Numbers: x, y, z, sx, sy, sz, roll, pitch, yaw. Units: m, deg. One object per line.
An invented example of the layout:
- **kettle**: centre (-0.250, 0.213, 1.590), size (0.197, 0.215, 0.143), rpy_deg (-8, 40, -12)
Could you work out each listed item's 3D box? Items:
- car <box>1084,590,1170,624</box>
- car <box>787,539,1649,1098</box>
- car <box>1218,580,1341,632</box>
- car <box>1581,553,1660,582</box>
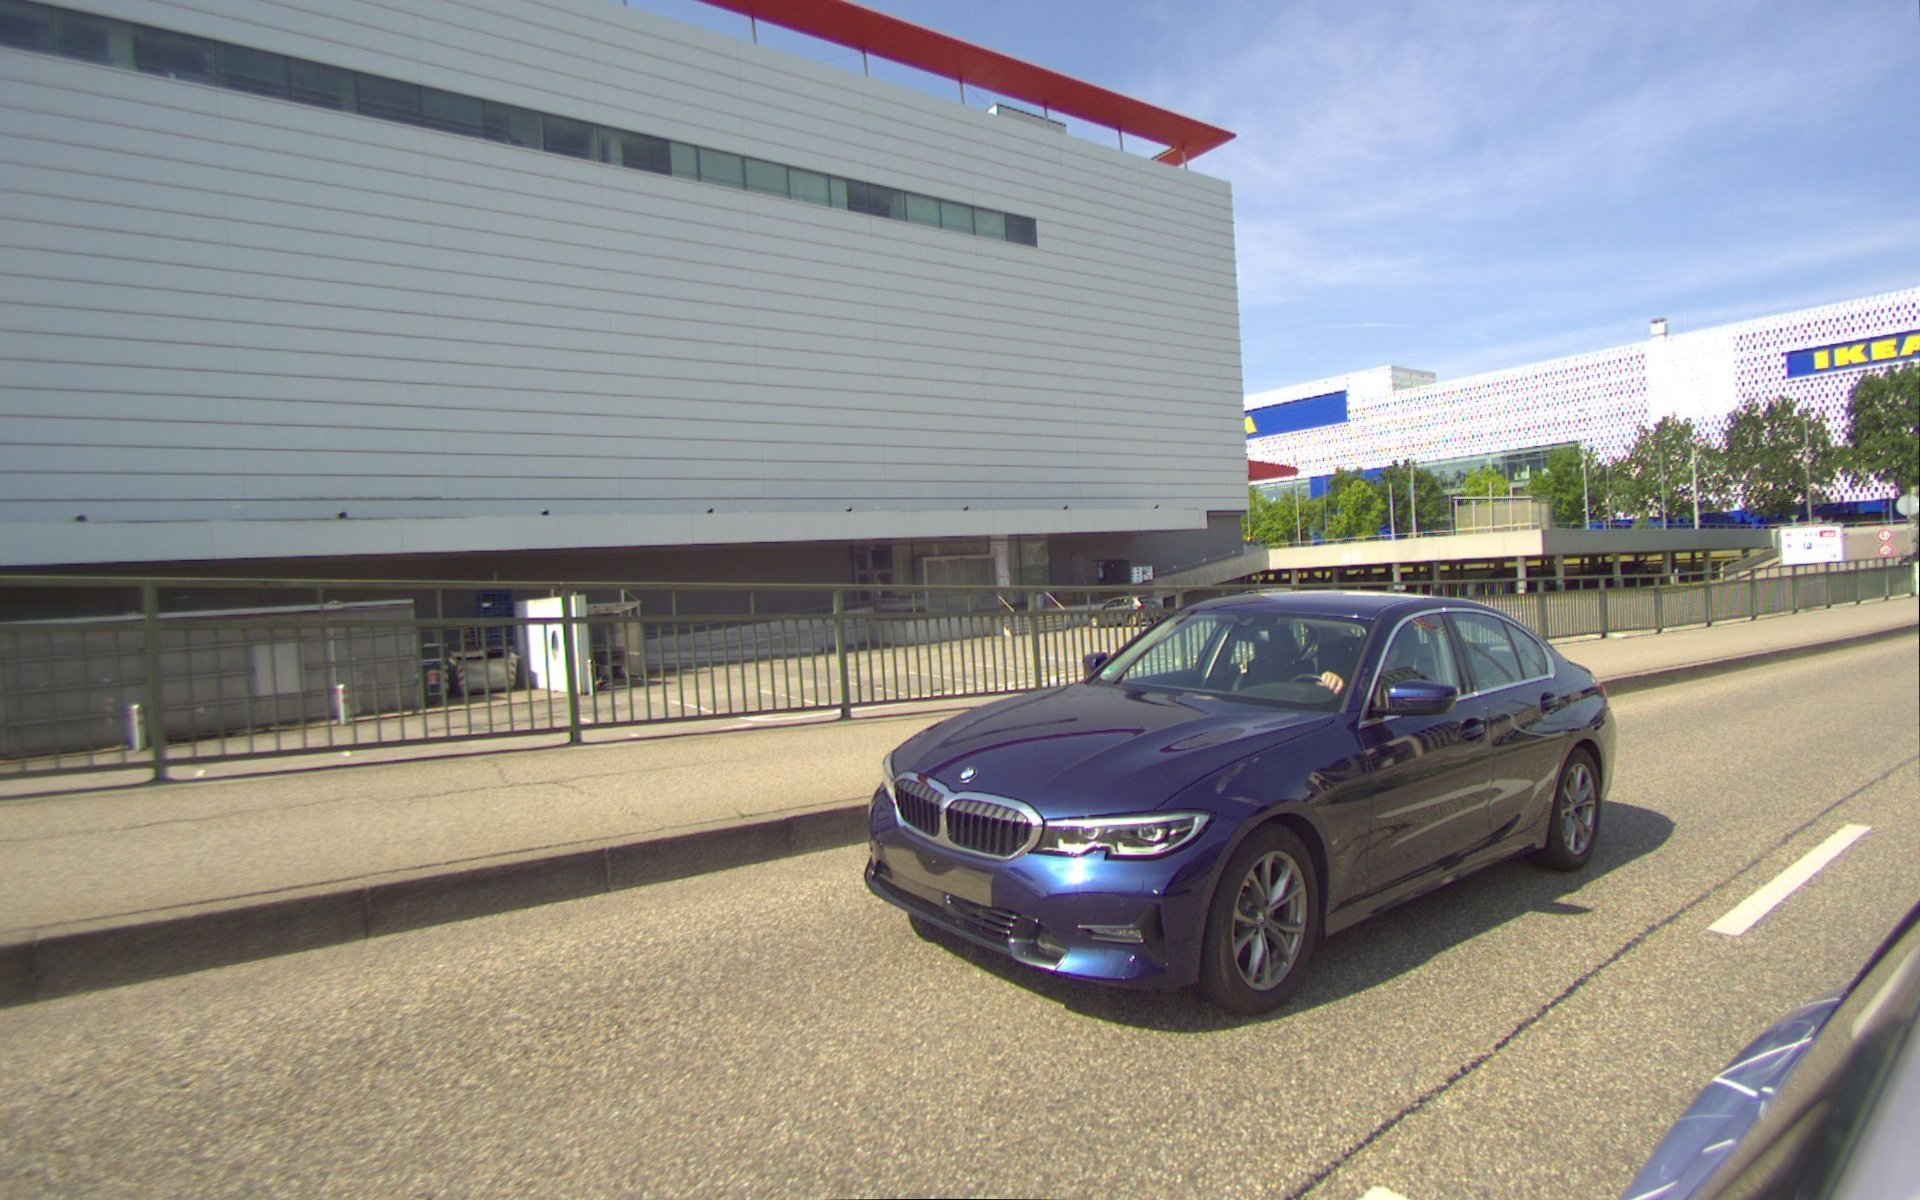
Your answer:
- **car**: centre (7.923, 0.351, 48.292), size (1.778, 1.393, 3.866), rpy_deg (-3, -1, -36)
- **car**: centre (1.576, 0.565, 5.017), size (4.441, 1.501, 1.791), rpy_deg (-5, 2, -39)
- **car**: centre (12.046, 0.224, 38.468), size (1.825, 1.753, 4.423), rpy_deg (-4, 1, -26)
- **car**: centre (47.065, -2.313, 72.180), size (1.966, 1.857, 4.310), rpy_deg (-2, 0, -41)
